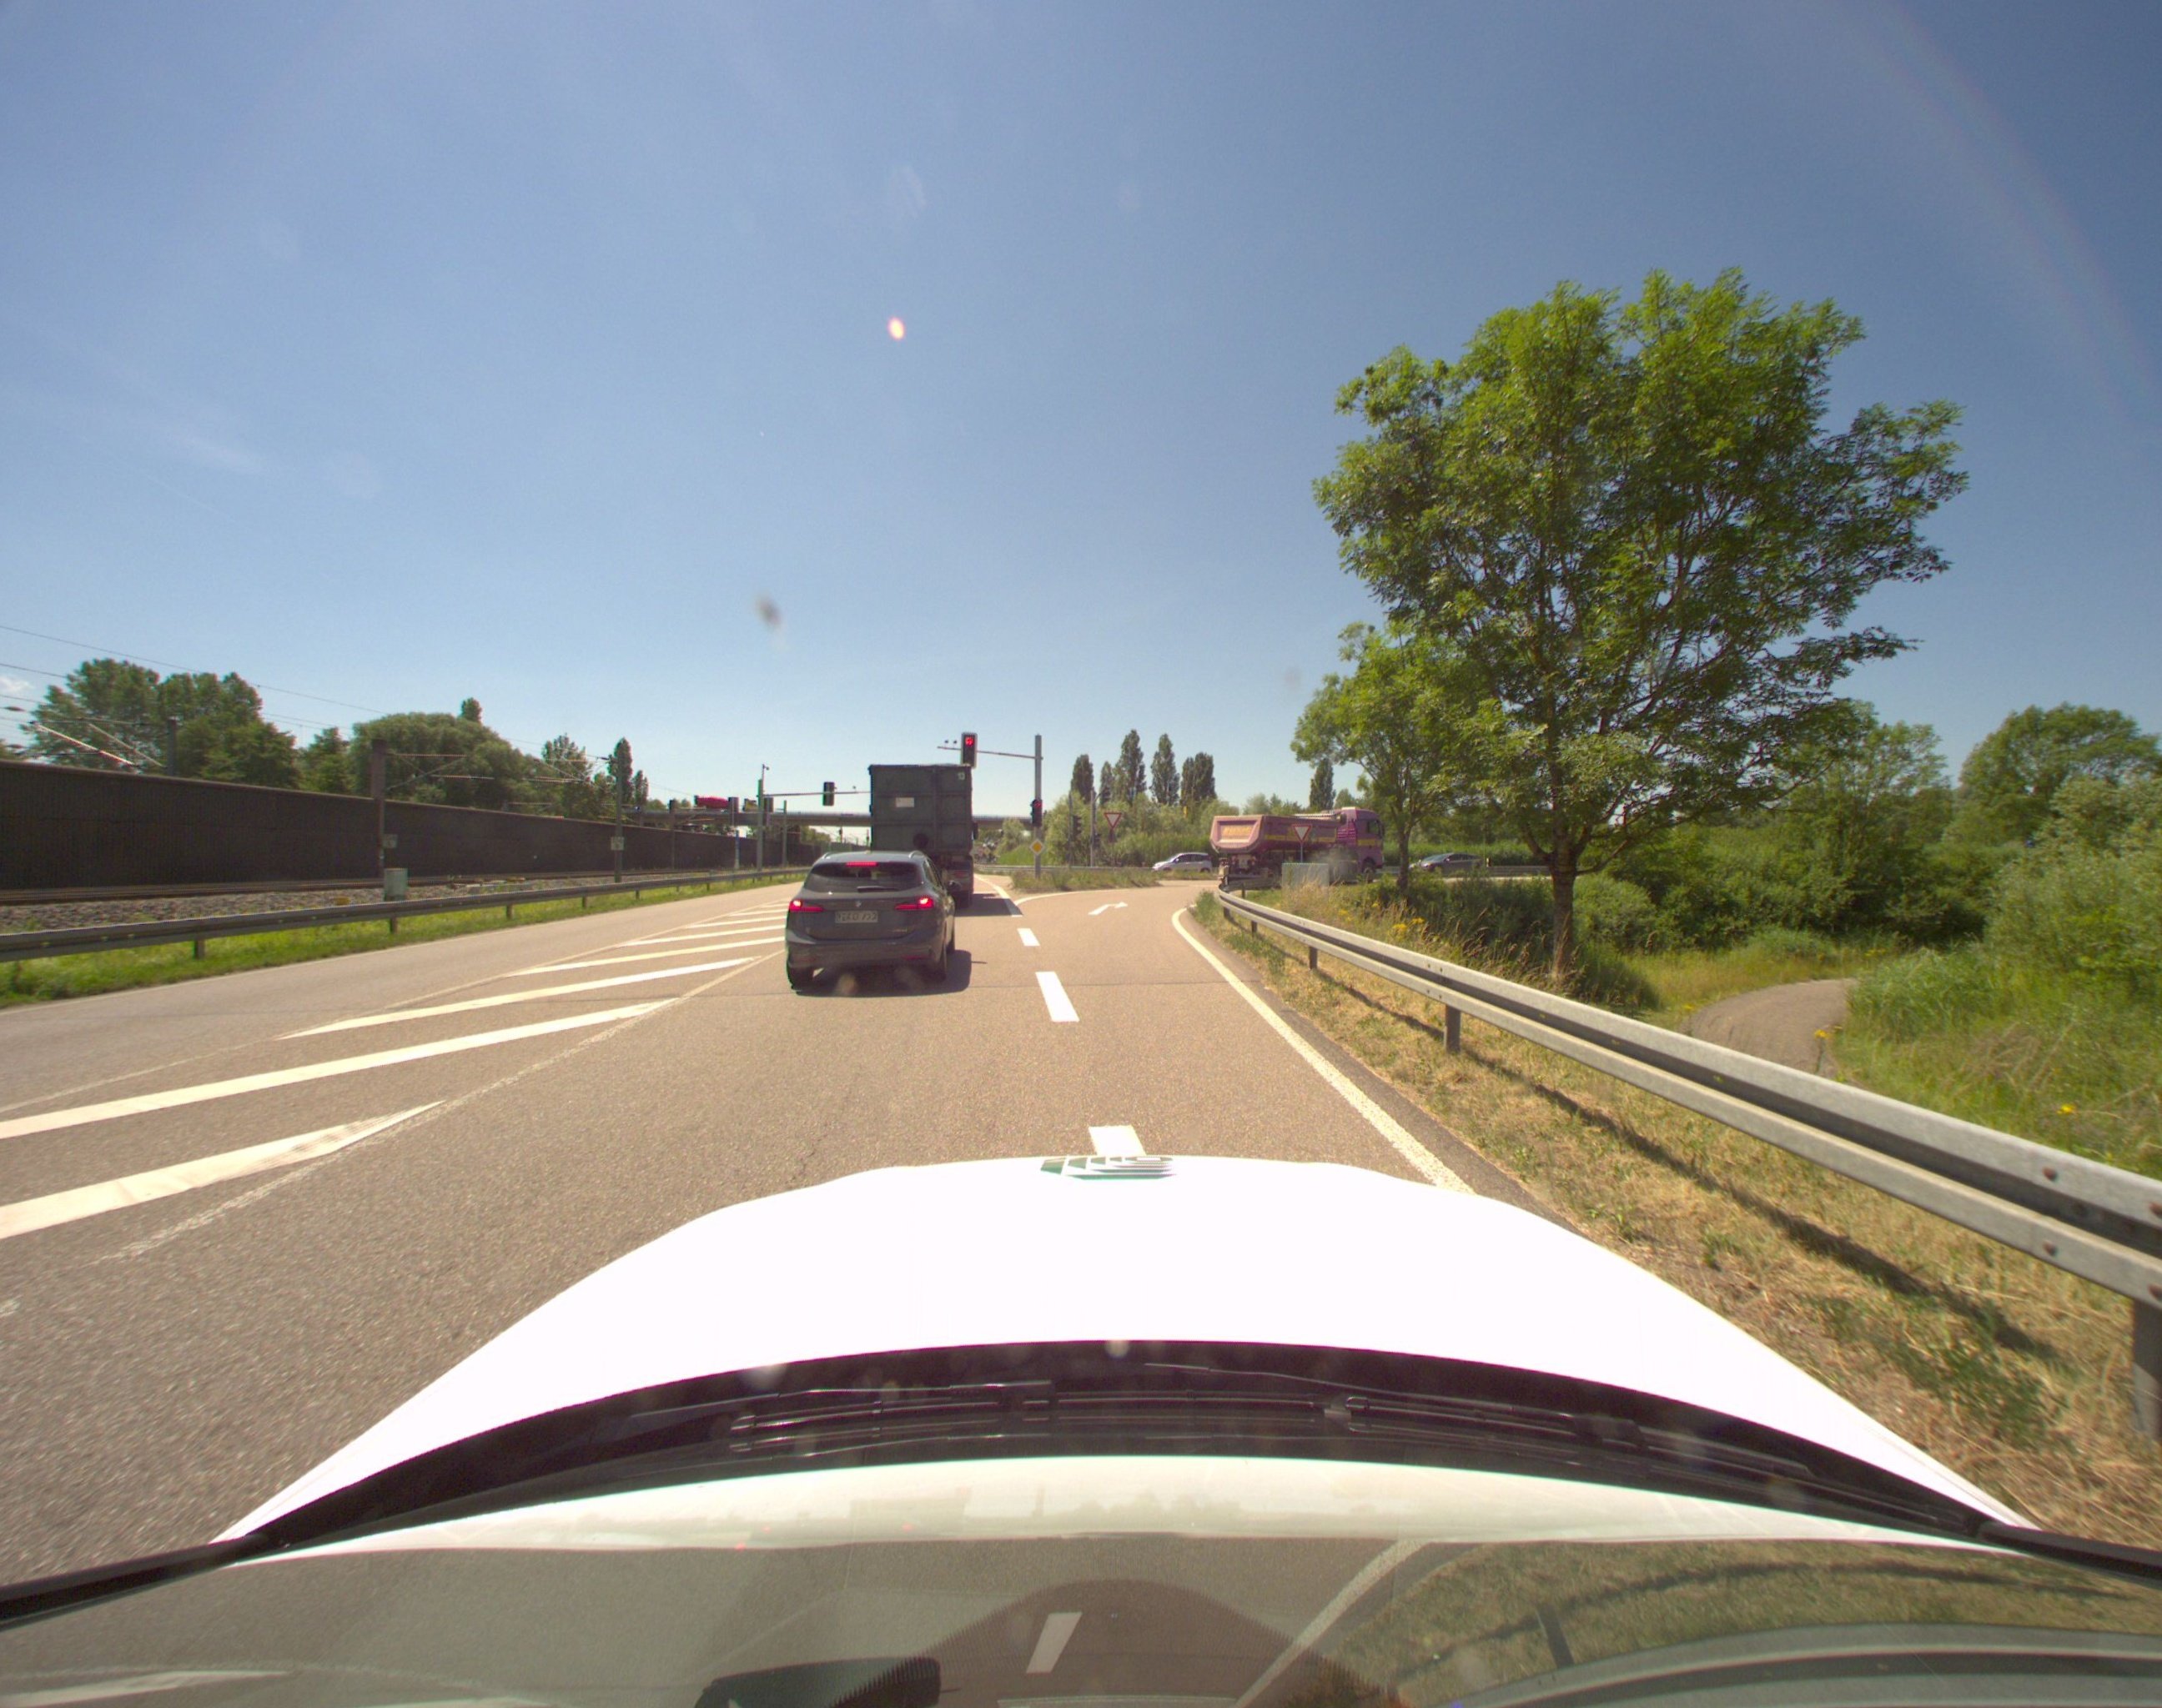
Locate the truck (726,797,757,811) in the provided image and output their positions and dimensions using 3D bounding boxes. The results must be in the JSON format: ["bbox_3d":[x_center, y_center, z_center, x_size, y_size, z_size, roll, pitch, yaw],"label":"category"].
[{"bbox_3d":[-64.025,-9.434,153.775,5.089,2.674,1.994,-1,0,-9],"label":"truck"}]

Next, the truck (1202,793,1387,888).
[{"bbox_3d":[10.338,-0.572,38.064,2.807,3.821,11.955,-1,0,44],"label":"truck"}]

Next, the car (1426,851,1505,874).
[{"bbox_3d":[25.634,0.563,54.307,4.388,1.398,1.995,-1,0,-8],"label":"car"}]

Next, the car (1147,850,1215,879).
[{"bbox_3d":[5.959,0.626,48.655,3.704,1.632,1.729,-1,0,-9],"label":"car"}]

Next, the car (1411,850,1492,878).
[{"bbox_3d":[22.975,0.594,50.561,4.220,1.632,1.929,-1,0,-7],"label":"car"}]

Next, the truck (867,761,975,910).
[{"bbox_3d":[-4.666,-0.488,25.382,2.587,3.737,9.551,-1,0,-7],"label":"truck"}]

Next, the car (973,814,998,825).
[{"bbox_3d":[-19.933,-7.212,170.018,4.958,2.014,1.994,-1,0,-9],"label":"car"}]

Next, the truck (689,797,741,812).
[{"bbox_3d":[-68.726,-9.387,153.004,8.492,2.674,1.994,-1,0,-9],"label":"truck"}]

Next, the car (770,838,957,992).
[{"bbox_3d":[-2.653,0.653,10.894,1.843,1.623,4.215,-1,0,-7],"label":"car"}]
